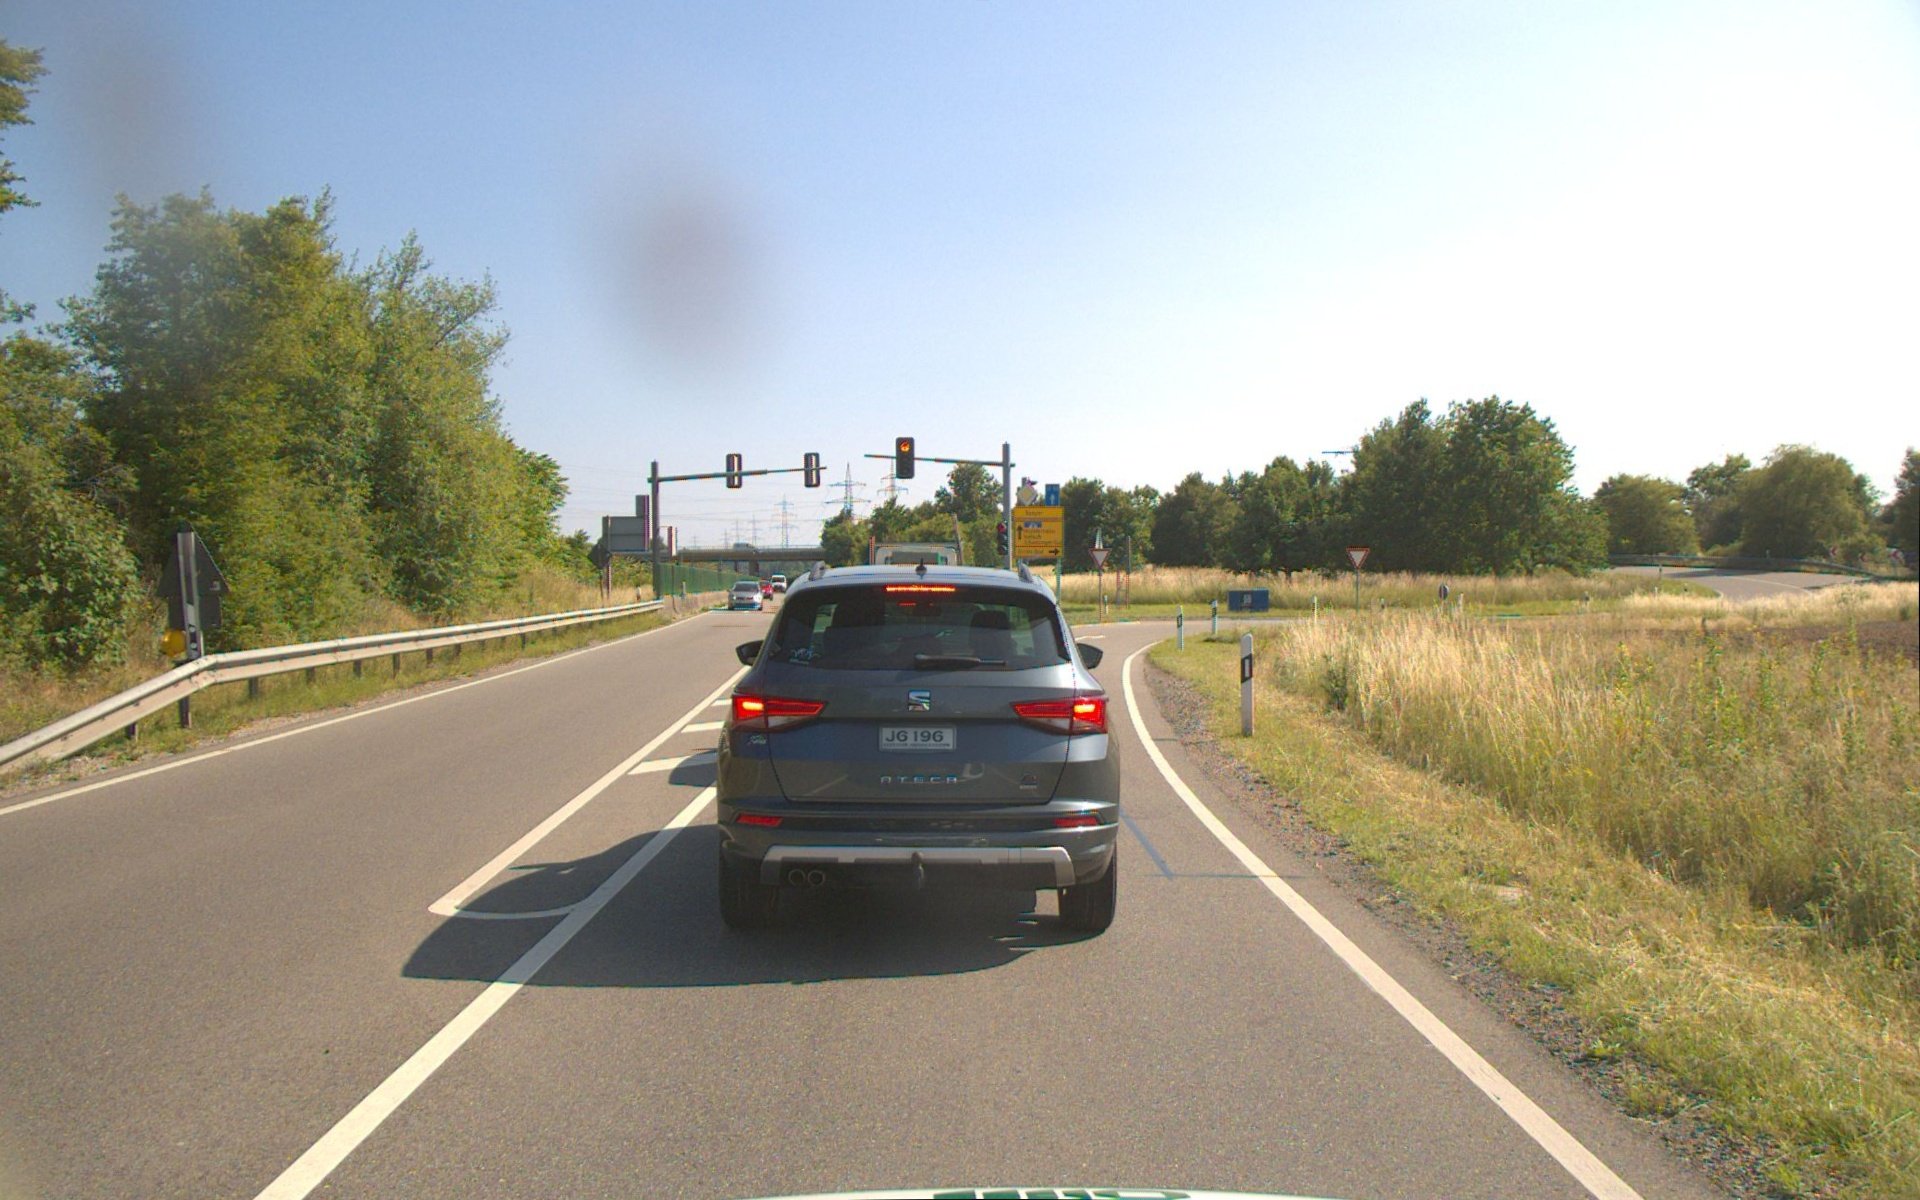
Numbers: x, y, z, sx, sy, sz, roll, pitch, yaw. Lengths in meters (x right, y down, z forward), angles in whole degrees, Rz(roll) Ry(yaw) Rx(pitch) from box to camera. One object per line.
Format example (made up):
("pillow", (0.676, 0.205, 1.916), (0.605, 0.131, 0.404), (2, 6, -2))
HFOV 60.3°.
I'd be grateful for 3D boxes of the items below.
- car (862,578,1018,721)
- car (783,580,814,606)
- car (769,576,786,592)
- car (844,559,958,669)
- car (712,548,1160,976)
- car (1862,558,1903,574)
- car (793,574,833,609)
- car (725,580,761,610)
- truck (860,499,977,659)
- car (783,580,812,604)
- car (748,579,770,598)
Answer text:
("car", (-0.337, 0.531, 20.649), (1.750, 1.570, 3.998), (-1, 1, -3))
("car", (-8.992, -0.395, 91.820), (1.652, 1.404, 3.529), (0, 1, -6))
("car", (-23.709, -2.044, 214.591), (1.927, 1.986, 4.987), (-1, 1, -9))
("car", (-1.029, 0.180, 27.702), (1.750, 1.705, 3.998), (-1, 1, -3))
("car", (-0.196, 0.595, 8.490), (1.750, 1.657, 3.998), (-1, 1, -3))
("car", (87.163, -3.190, 156.264), (1.736, 1.396, 3.623), (1, 1, -3))
("car", (-7.034, -0.426, 79.108), (1.781, 1.567, 3.994), (-1, 1, -7))
("car", (-11.219, -0.281, 85.653), (1.789, 1.456, 3.994), (-1, 1, -7))
("truck", (-0.916, -0.418, 35.264), (2.290, 3.119, 5.807), (0, 0, -2))
("car", (-9.617, -0.492, 97.818), (1.652, 1.404, 3.529), (0, 1, -6))
("car", (-16.352, -0.968, 134.657), (1.728, 1.456, 3.994), (-1, 1, -7))
